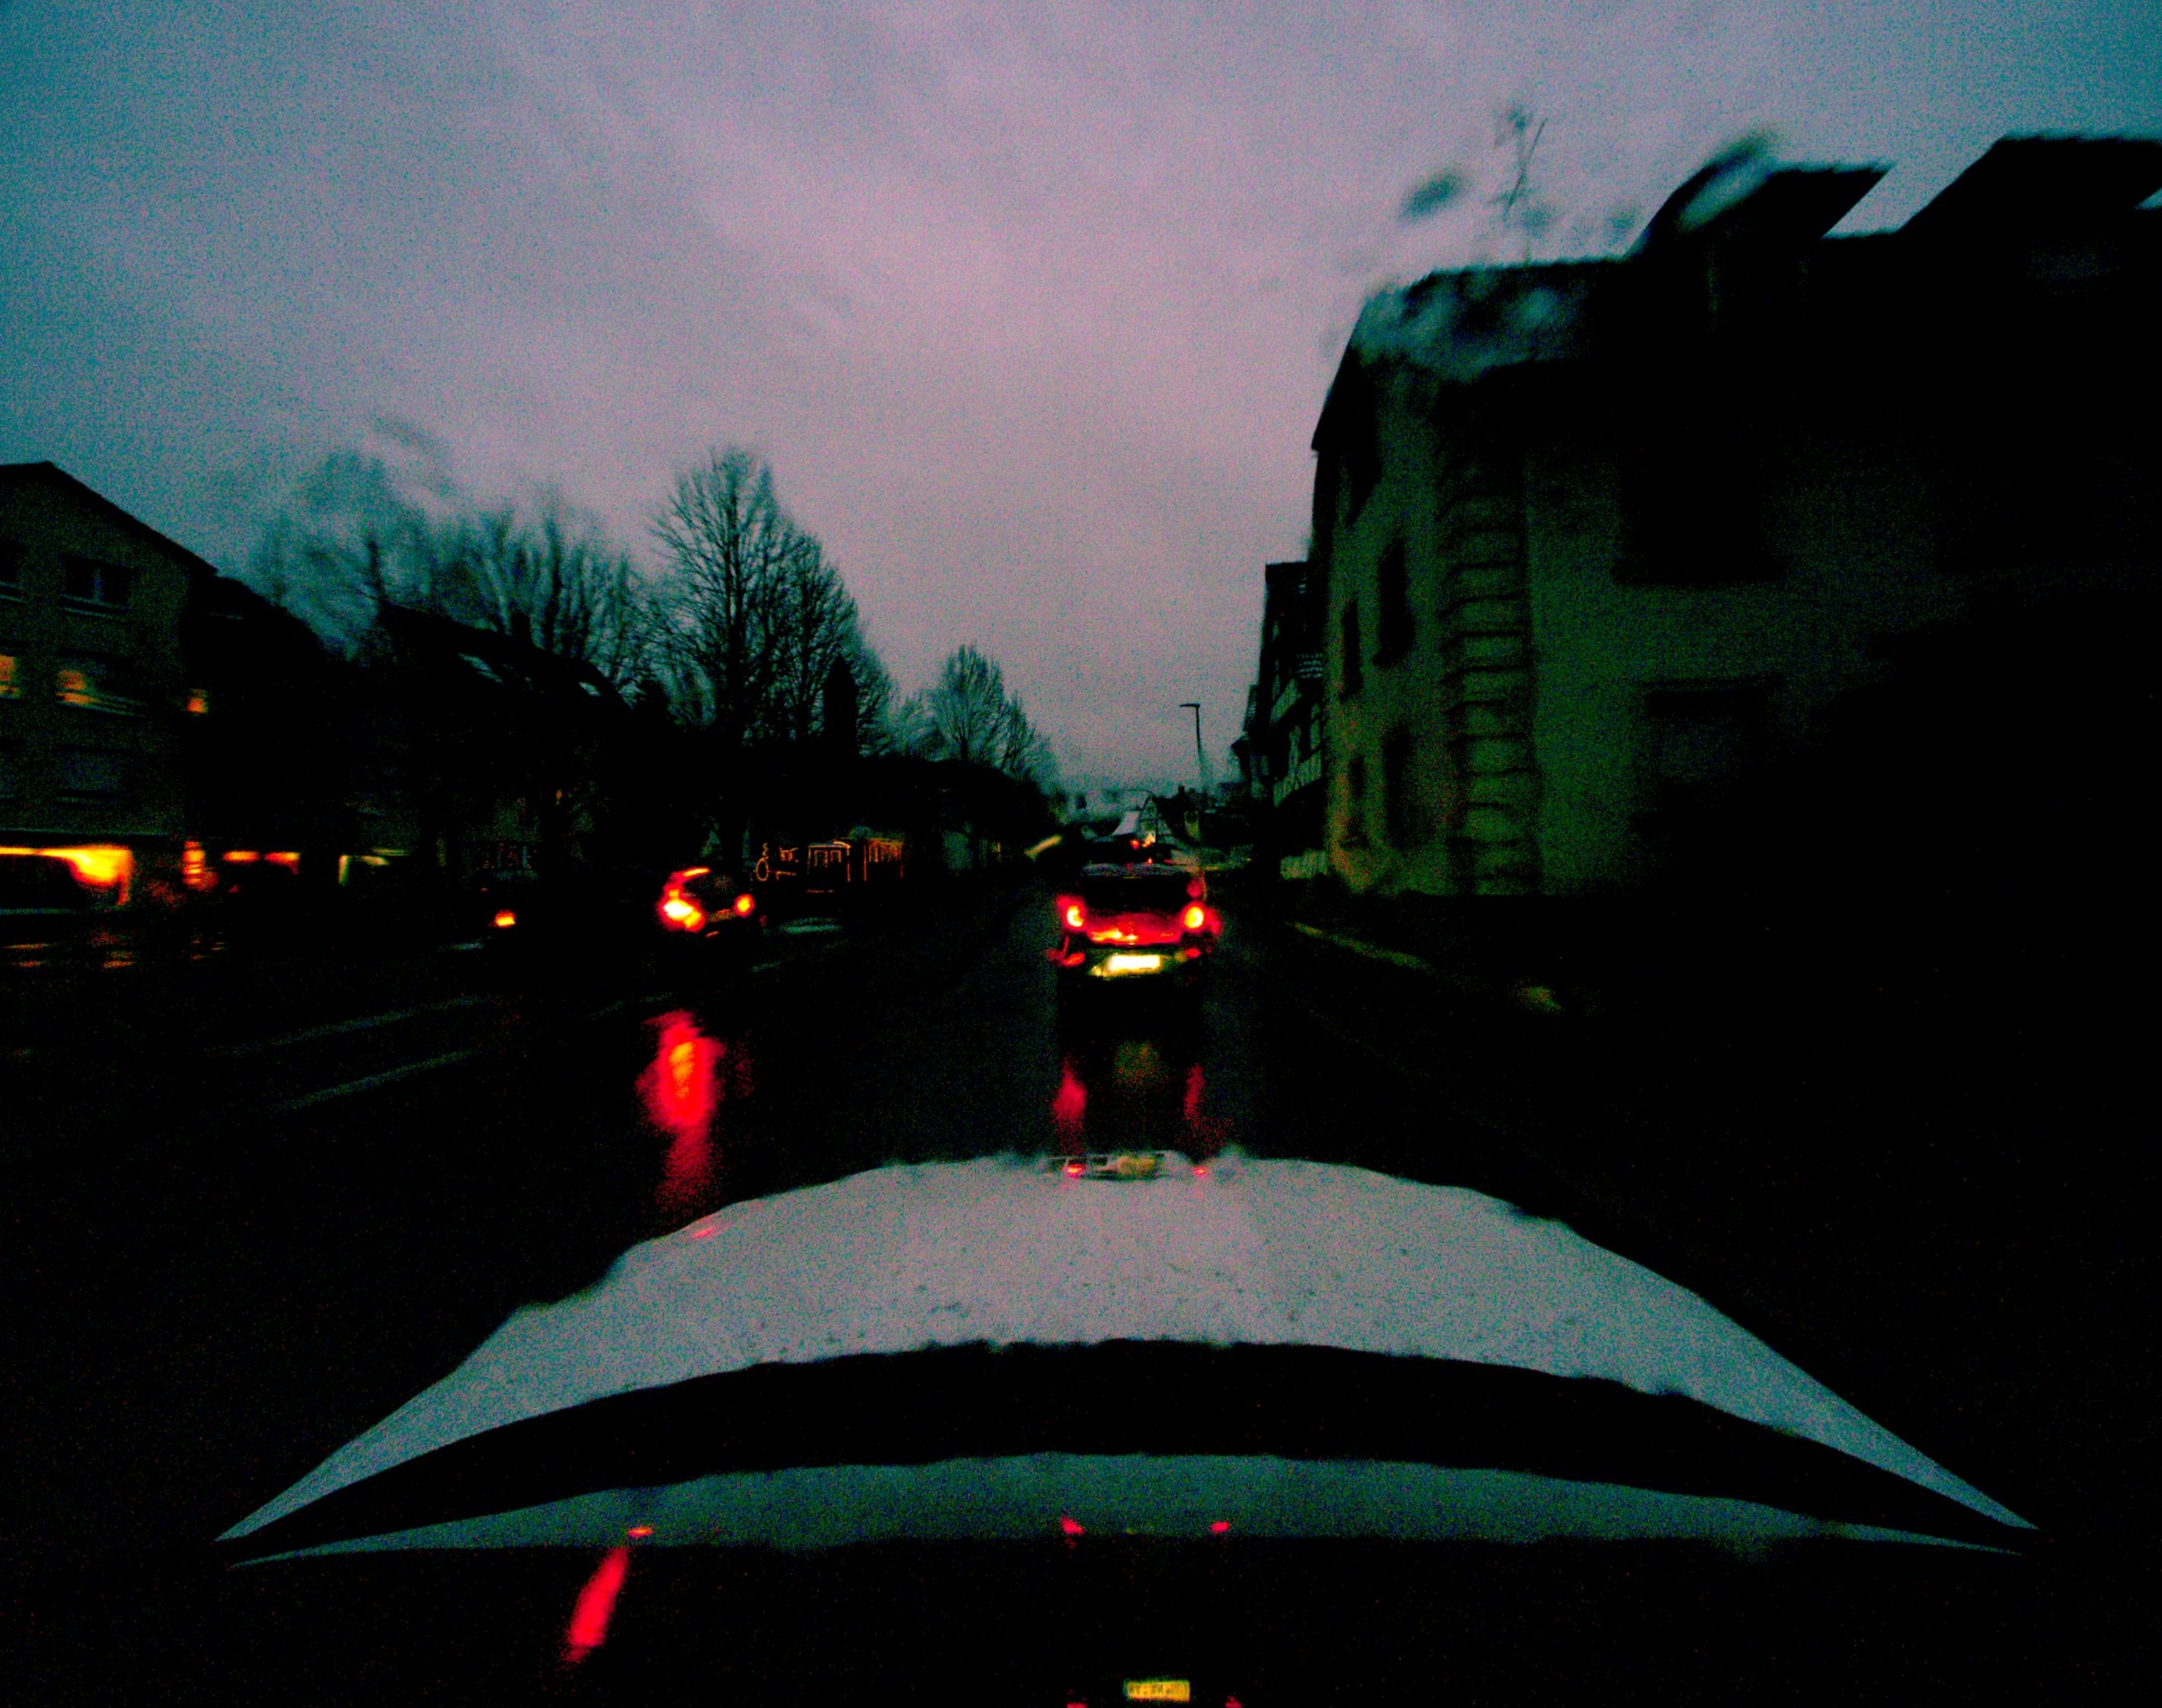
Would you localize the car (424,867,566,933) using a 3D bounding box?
[{"bbox_3d":[-18.897,1.446,26.274,3.953,1.988,1.829,-1,0,21],"label":"car"}]

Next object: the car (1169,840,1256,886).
[{"bbox_3d":[6.445,0.444,39.990,4.073,2.163,1.918,-1,0,8],"label":"car"}]

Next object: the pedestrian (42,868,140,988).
[{"bbox_3d":[-12.671,0.913,10.450,0.653,1.458,0.643,0,0,-36],"label":"pedestrian"}]

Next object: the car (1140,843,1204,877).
[{"bbox_3d":[6.094,0.412,54.220,4.073,2.151,1.918,-1,0,9],"label":"car"}]

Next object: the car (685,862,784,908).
[{"bbox_3d":[-15.804,1.402,37.134,3.953,1.998,1.829,-1,0,21],"label":"car"}]

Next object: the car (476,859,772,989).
[{"bbox_3d":[-5.942,0.813,10.651,3.233,1.481,1.652,0,0,20],"label":"car"}]

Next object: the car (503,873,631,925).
[{"bbox_3d":[-18.340,1.568,29.057,3.953,1.730,1.829,-1,0,21],"label":"car"}]

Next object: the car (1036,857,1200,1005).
[{"bbox_3d":[0.433,0.788,9.845,1.632,1.481,3.380,0,-1,2],"label":"car"}]

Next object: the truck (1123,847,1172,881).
[{"bbox_3d":[6.589,0.934,79.514,2.992,3.128,8.036,-1,0,17],"label":"truck"}]

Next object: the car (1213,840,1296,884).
[{"bbox_3d":[8.944,0.408,42.320,4.073,2.151,1.918,-1,0,9],"label":"car"}]
